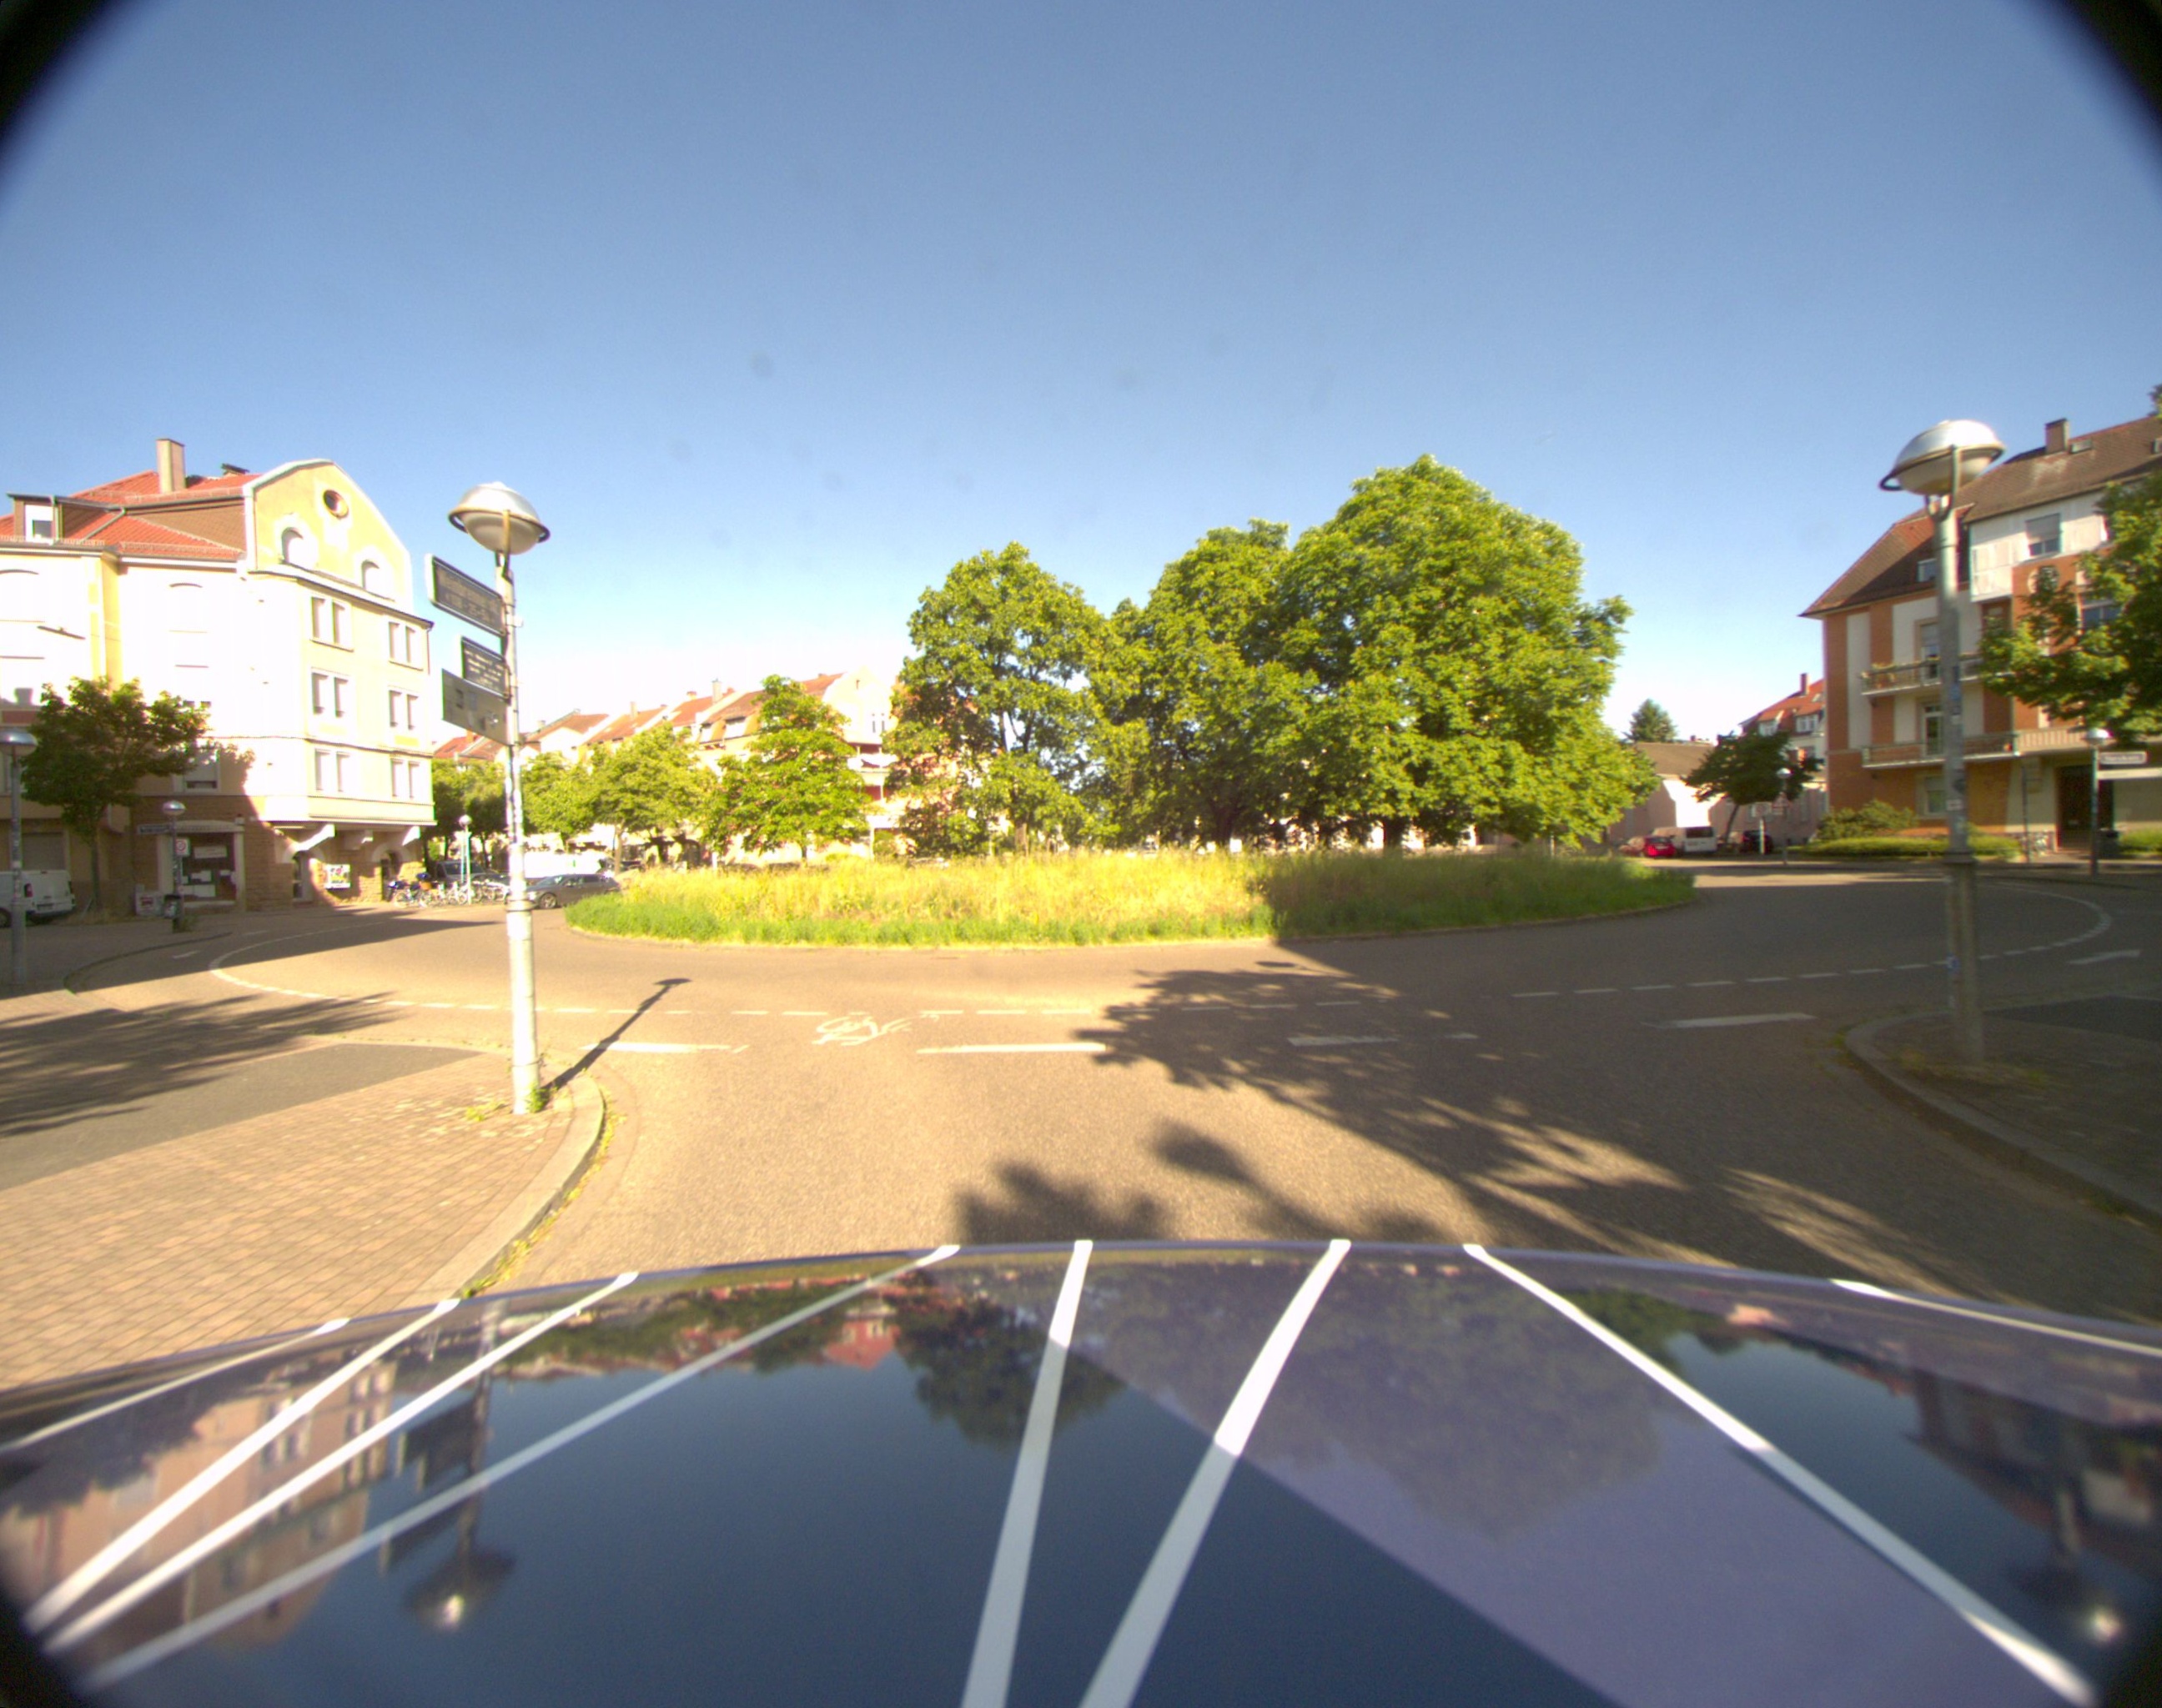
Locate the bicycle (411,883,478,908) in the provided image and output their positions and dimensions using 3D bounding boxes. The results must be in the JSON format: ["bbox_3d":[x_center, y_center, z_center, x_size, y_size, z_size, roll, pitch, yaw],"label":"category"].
[{"bbox_3d":[-27.621,1.790,32.993,2.364,1.009,0.654,-2,0,1],"label":"bicycle"}]

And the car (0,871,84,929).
[{"bbox_3d":[-38.698,1.671,26.432,4.453,1.930,1.894,-2,1,-20],"label":"car"}]

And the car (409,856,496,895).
[{"bbox_3d":[-36.389,1.241,43.988,4.788,2.107,2.258,-2,1,29],"label":"car"}]

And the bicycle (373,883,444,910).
[{"bbox_3d":[-27.727,1.745,31.355,2.364,1.046,0.654,-2,-2,1],"label":"bicycle"}]

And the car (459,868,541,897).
[{"bbox_3d":[-31.754,1.541,41.518,3.990,1.434,2.003,-2,1,28],"label":"car"}]

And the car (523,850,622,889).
[{"bbox_3d":[-34.563,1.019,51.824,5.197,2.348,2.034,-2,1,-20],"label":"car"}]

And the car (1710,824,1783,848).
[{"bbox_3d":[43.458,-1.172,49.736,1.741,1.472,4.003,-2,1,10],"label":"car"}]

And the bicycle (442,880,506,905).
[{"bbox_3d":[-27.509,1.739,34.432,2.364,1.046,0.654,-2,1,1],"label":"bicycle"}]

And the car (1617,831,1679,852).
[{"bbox_3d":[35.051,-0.754,47.111,1.766,1.171,4.004,-2,0,16],"label":"car"}]

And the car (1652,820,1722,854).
[{"bbox_3d":[37.806,-1.051,47.509,1.996,2.002,4.004,-2,1,16],"label":"car"}]

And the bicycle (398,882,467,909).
[{"bbox_3d":[-27.531,1.768,32.278,2.364,1.046,0.654,-2,1,1],"label":"bicycle"}]

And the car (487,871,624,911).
[{"bbox_3d":[-22.049,1.514,32.118,1.844,1.400,4.413,-2,1,23],"label":"car"}]

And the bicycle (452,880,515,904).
[{"bbox_3d":[-27.641,1.754,35.174,2.364,1.046,0.654,-2,1,1],"label":"bicycle"}]

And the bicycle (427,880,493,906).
[{"bbox_3d":[-27.563,1.733,33.729,2.364,1.046,0.654,-2,0,1],"label":"bicycle"}]
